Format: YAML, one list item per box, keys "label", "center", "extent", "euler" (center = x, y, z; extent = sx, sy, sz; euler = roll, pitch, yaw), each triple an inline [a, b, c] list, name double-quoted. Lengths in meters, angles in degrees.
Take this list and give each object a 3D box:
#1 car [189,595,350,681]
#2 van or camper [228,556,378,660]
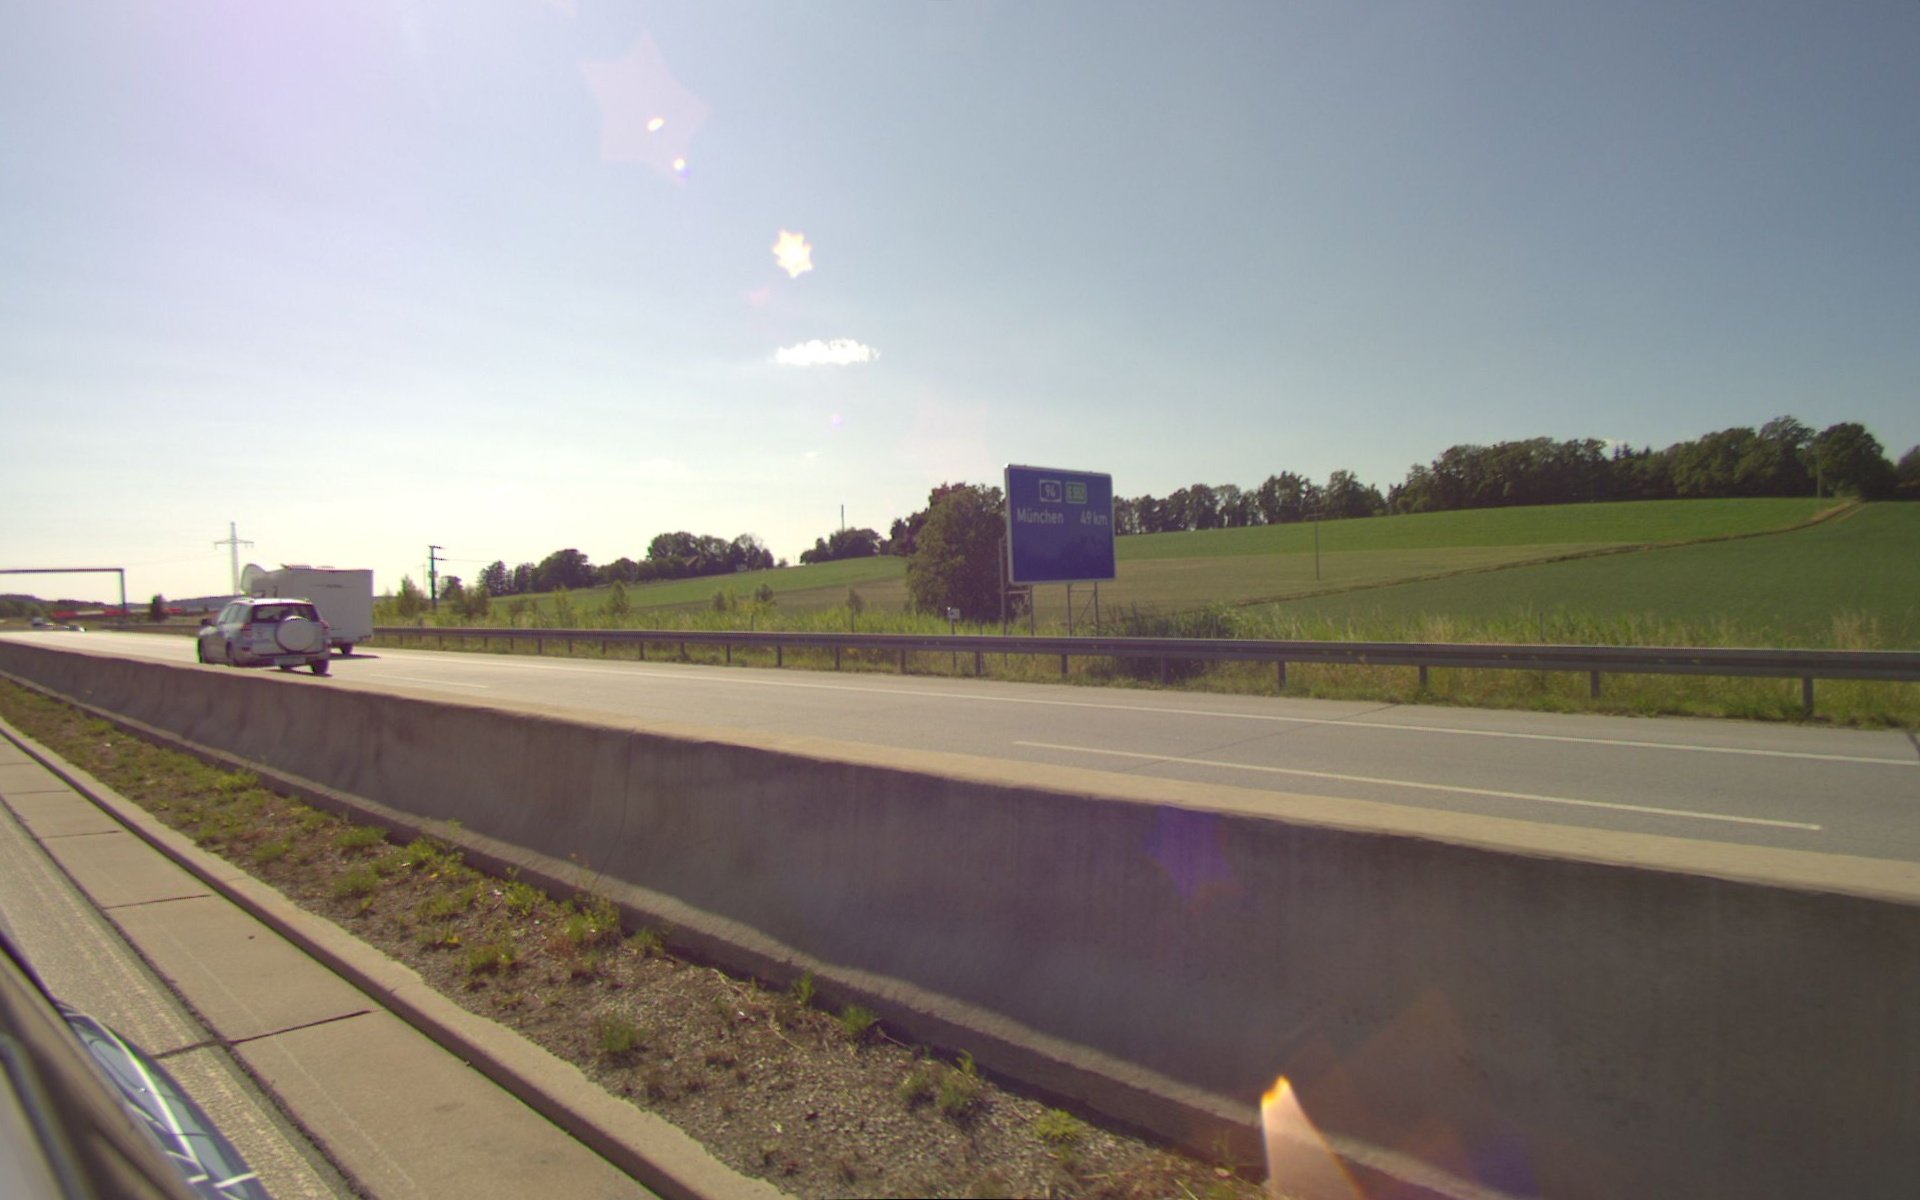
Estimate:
- label: "car"
  center: [-15.417, 0.810, 22.519]
  extent: [4.344, 1.722, 1.966]
  euler: [-1, -1, 42]
- label: "van or camper"
  center: [-22.154, 0.314, 33.944]
  extent: [7.438, 3.104, 2.562]
  euler: [-2, -1, 43]
